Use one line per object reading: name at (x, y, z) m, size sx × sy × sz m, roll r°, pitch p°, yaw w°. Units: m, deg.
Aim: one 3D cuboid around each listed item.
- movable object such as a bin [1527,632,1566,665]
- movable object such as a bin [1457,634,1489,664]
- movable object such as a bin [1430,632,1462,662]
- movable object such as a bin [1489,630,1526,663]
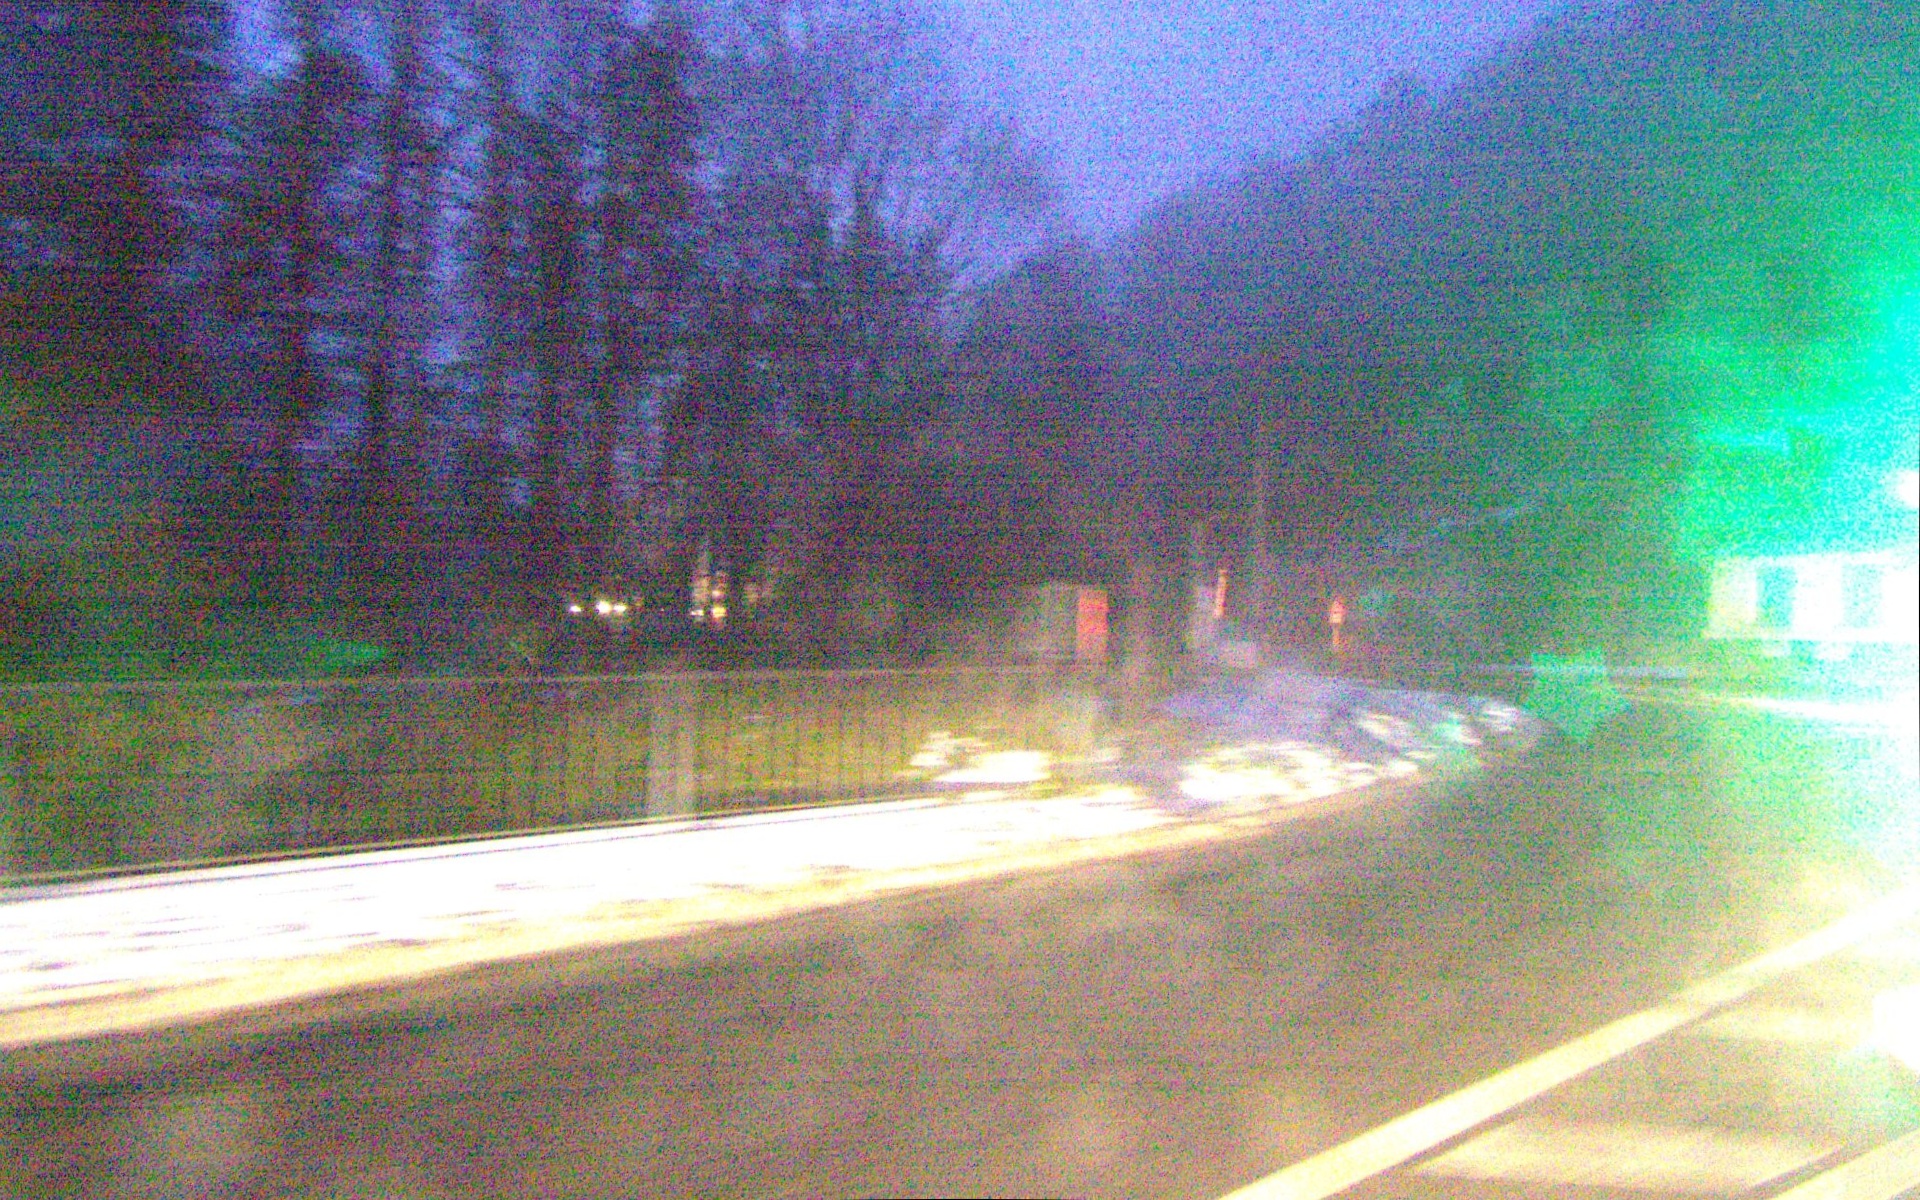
movable object such as a bin at (26.393, 2.179, 45.195) m, size 1.297 × 1.315 × 1.246 m, roll 4°, pitch -2°, yaw 38°
movable object such as a bin at (23.976, 2.268, 46.978) m, size 1.212 × 1.343 × 1.150 m, roll 0°, pitch 0°, yaw 34°
movable object such as a bin at (23.232, 2.226, 48.016) m, size 1.299 × 1.326 × 1.173 m, roll 0°, pitch 0°, yaw 31°
movable object such as a bin at (25.163, 2.105, 46.178) m, size 1.367 × 1.432 × 1.248 m, roll 2°, pitch 0°, yaw 32°
